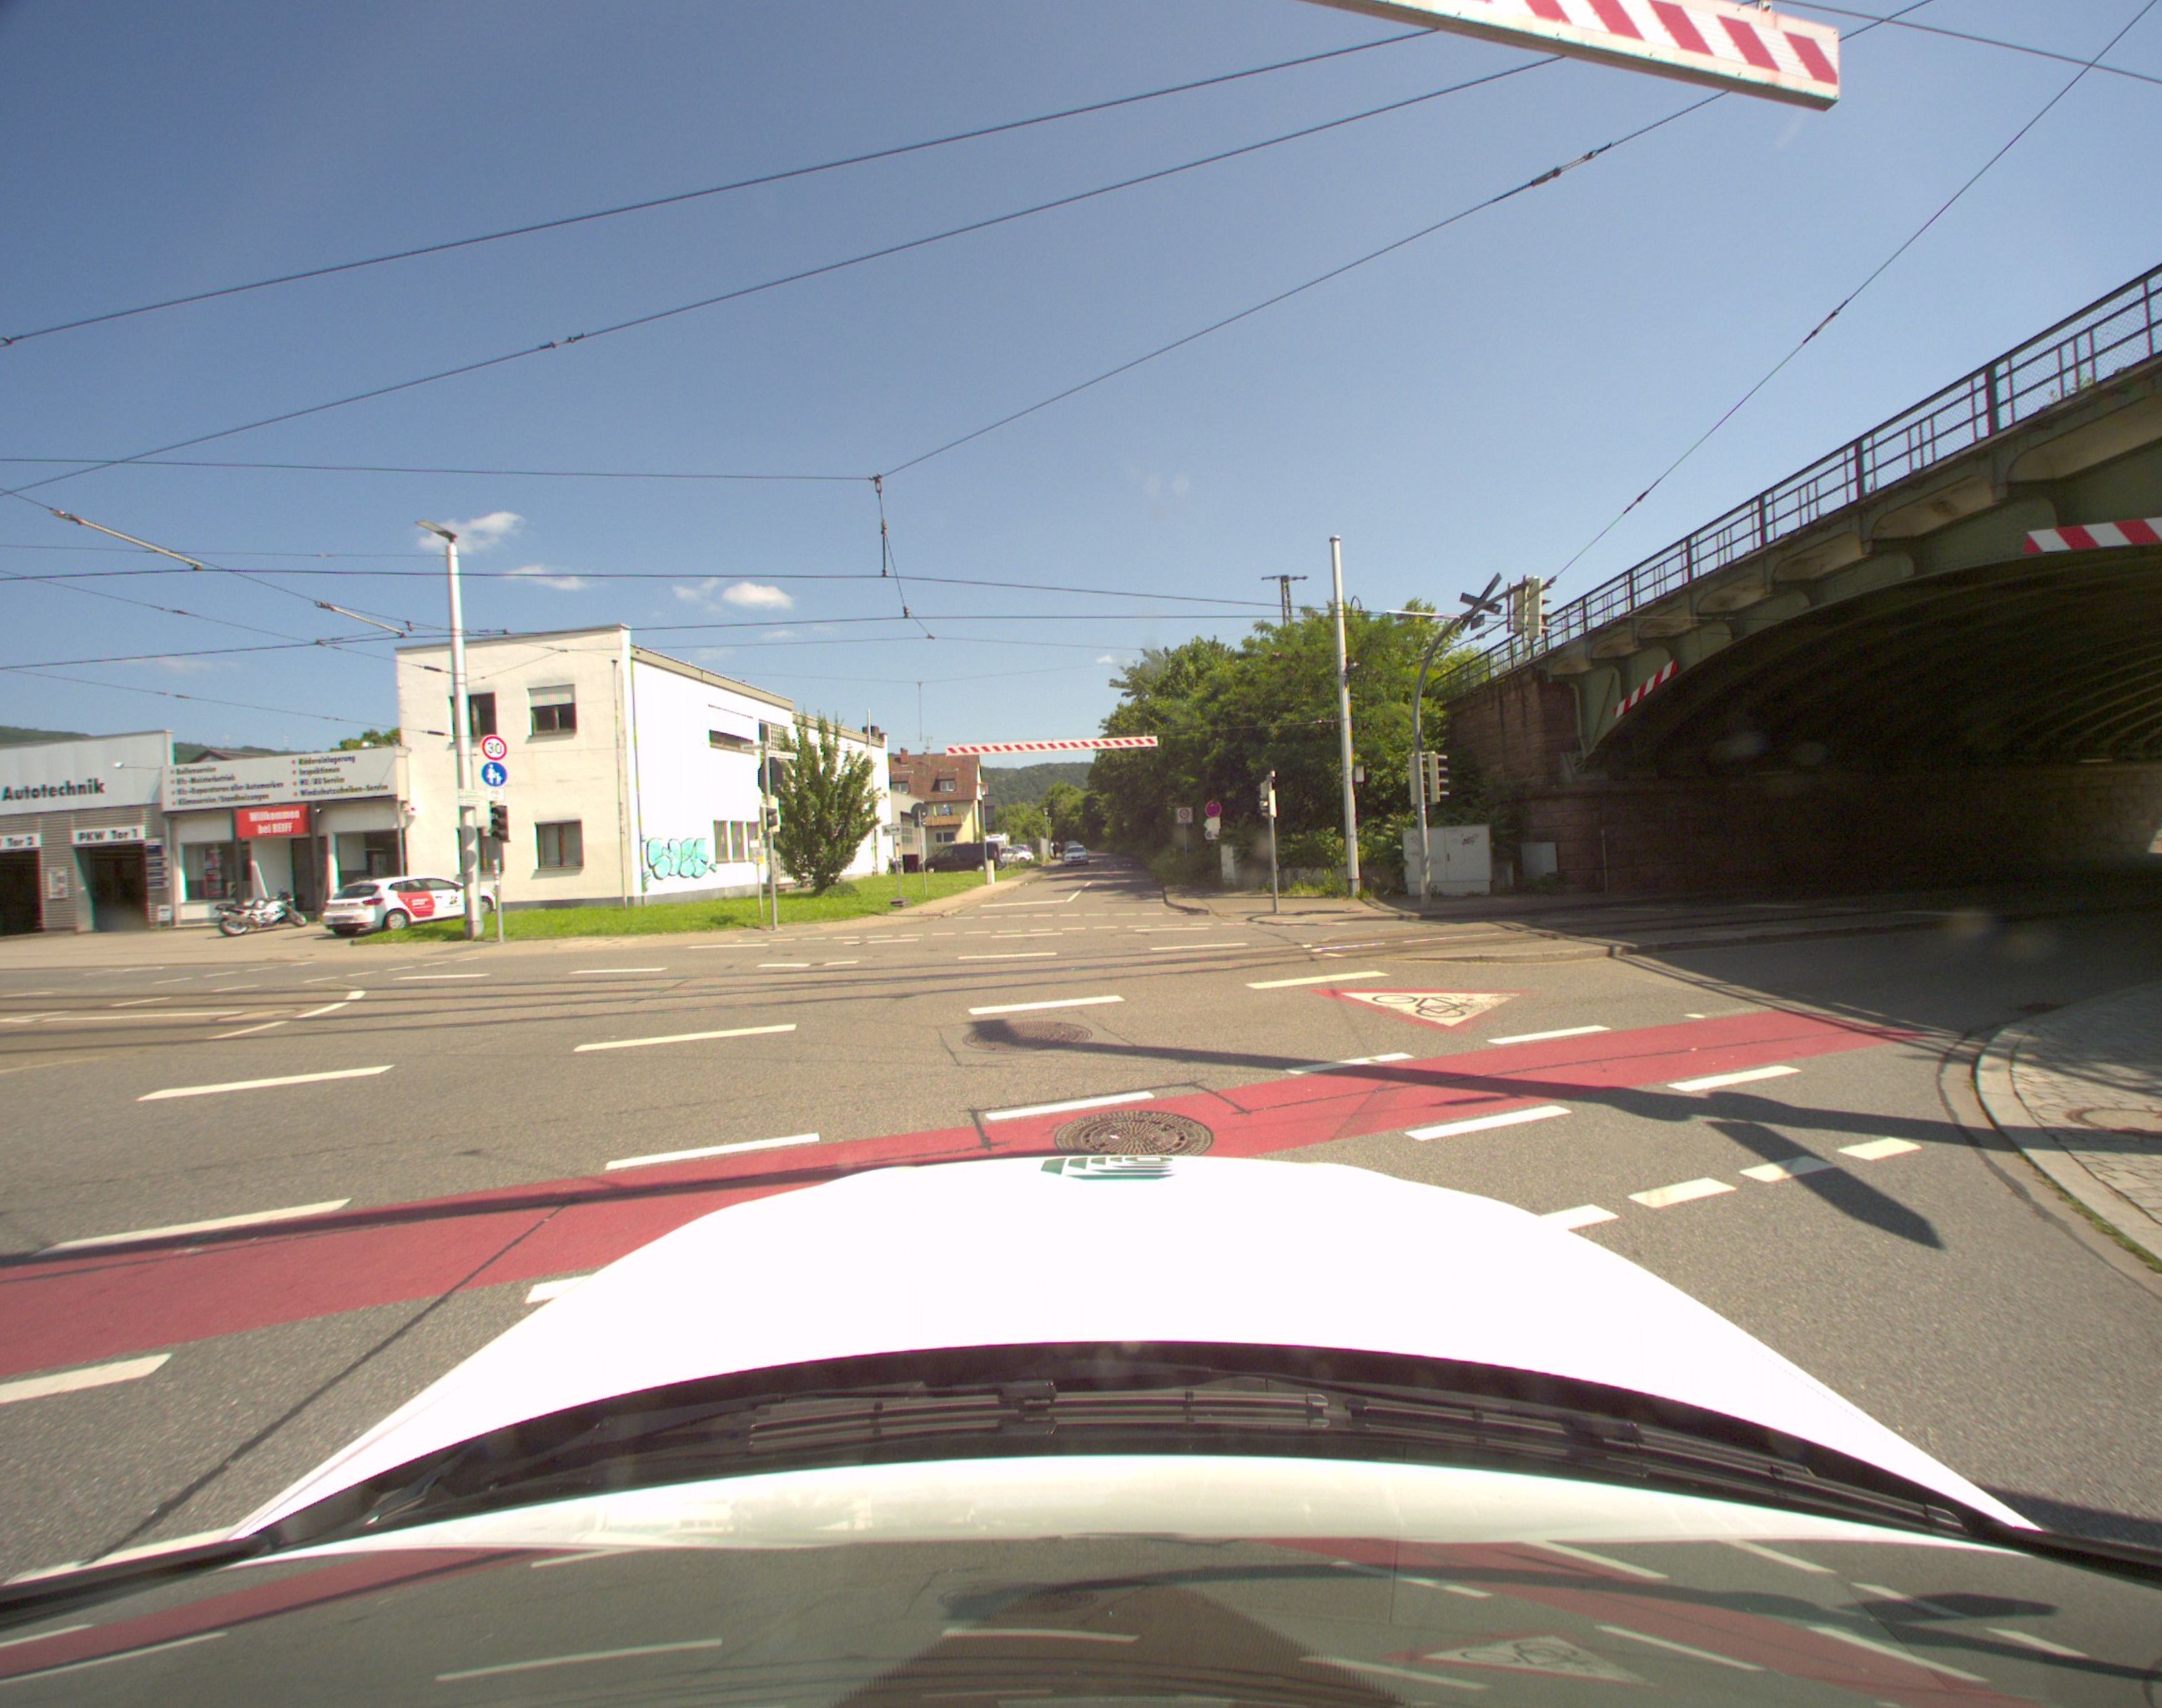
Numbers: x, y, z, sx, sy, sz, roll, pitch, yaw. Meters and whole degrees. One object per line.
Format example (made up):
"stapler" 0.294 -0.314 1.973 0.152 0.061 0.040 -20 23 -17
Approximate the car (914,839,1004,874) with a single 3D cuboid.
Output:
"car" -7.612 0.151 51.076 5.230 1.816 2.000 -3 0 0

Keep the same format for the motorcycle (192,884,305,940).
"motorcycle" -24.371 1.675 23.907 0.725 1.308 2.196 -3 3 8

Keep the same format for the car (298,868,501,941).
"car" -18.835 1.330 22.783 1.873 1.462 4.011 -3 4 8

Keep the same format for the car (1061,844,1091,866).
"car" -0.338 0.025 61.552 2.078 1.510 4.542 -1 1 2

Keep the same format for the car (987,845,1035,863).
"car" -5.799 -0.014 67.834 3.705 1.371 1.606 -1 -1 3

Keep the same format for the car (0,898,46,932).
"car" -47.243 2.687 34.522 1.711 1.376 3.779 -3 0 5

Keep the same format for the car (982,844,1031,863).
"car" -5.949 -0.025 65.105 3.705 1.371 1.606 -1 -1 3

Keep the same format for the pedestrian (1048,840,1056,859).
"pedestrian" -2.847 -0.433 79.490 0.651 1.763 0.804 -1 -1 1

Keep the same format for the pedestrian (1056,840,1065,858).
"pedestrian" -2.016 -0.463 79.567 0.873 1.763 0.731 -1 -1 1

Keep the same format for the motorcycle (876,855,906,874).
"motorcycle" -10.725 0.621 46.039 0.847 1.032 2.571 -1 -1 5
